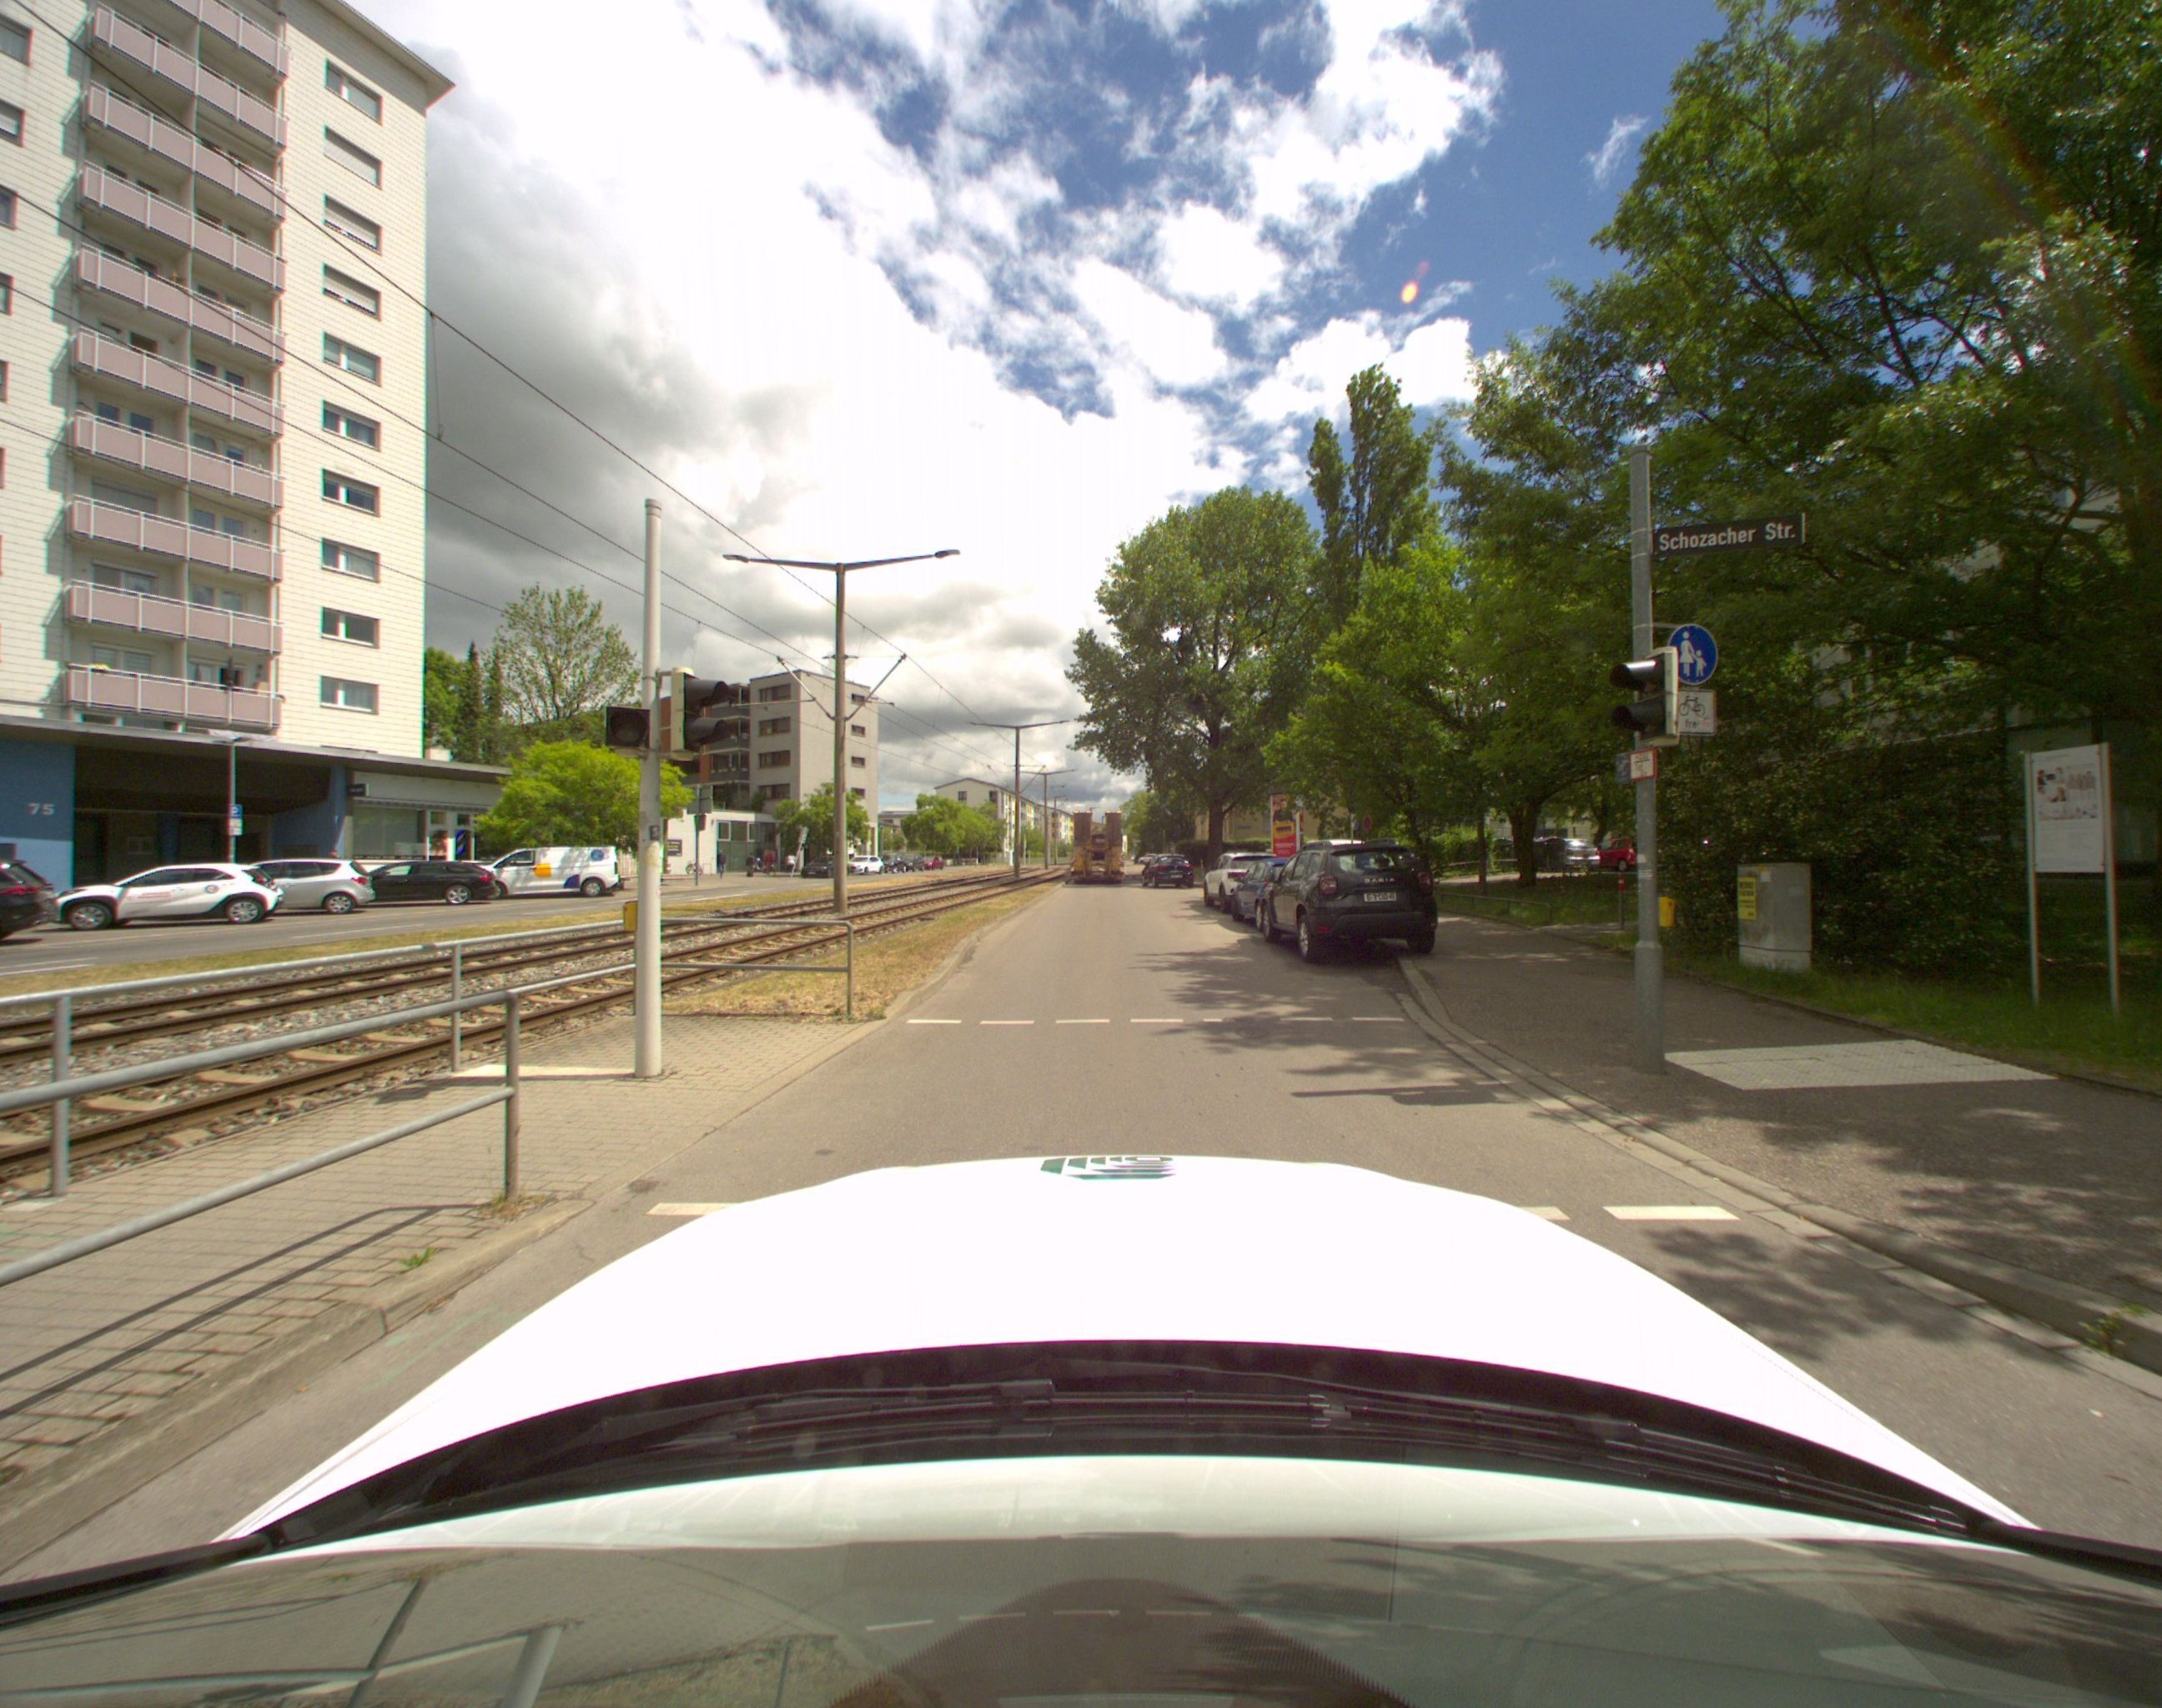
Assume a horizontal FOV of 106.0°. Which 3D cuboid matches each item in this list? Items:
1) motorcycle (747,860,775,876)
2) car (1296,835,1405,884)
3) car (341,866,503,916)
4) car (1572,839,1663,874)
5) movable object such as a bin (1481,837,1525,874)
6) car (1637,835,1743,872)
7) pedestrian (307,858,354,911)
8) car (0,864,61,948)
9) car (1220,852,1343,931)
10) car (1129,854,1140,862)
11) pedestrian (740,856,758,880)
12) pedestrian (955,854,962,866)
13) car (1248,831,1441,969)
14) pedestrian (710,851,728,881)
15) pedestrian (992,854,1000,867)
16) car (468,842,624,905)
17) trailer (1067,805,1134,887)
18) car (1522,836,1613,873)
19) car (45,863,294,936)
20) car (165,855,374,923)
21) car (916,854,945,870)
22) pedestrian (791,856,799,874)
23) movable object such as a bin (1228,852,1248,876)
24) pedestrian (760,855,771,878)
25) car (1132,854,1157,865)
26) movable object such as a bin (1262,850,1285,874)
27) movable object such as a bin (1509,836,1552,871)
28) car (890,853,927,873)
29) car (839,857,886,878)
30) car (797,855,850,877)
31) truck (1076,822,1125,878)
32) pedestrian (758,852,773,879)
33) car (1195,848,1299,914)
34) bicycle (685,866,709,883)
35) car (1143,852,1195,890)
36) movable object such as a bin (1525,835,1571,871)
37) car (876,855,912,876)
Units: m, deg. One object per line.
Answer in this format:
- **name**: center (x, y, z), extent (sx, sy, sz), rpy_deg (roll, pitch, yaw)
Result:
- **motorcycle**: center (-25.640, 1.108, 65.218), extent (1.885, 1.178, 0.742), rpy_deg (-2, 0, 1)
- **car**: center (11.127, 0.211, 33.601), extent (4.000, 1.823, 1.798), rpy_deg (-2, 0, -20)
- **car**: center (-21.730, 1.158, 27.049), extent (4.019, 1.383, 1.885), rpy_deg (-2, 0, -38)
- **car**: center (23.885, 0.101, 36.453), extent (1.735, 1.443, 4.007), rpy_deg (-1, 0, 6)
- **movable object such as a bin**: center (16.969, 0.072, 32.782), extent (1.111, 1.429, 1.286), rpy_deg (-2, 0, 1)
- **car**: center (26.184, -0.039, 35.197), extent (1.736, 1.470, 4.003), rpy_deg (-2, 0, 3)
- **pedestrian**: center (-26.514, 1.050, 28.780), extent (0.762, 1.821, 0.895), rpy_deg (-2, 0, 16)
- **car**: center (-22.613, 1.069, 15.302), extent (4.023, 1.591, 1.909), rpy_deg (-2, 0, -43)
- **car**: center (4.201, 0.715, 17.683), extent (1.638, 1.458, 4.075), rpy_deg (-2, 0, 0)
- **car**: center (9.803, 0.794, 149.260), extent (1.985, 1.387, 4.004), rpy_deg (-2, 0, 4)
- **pedestrian**: center (-22.336, 0.938, 54.830), extent (0.596, 1.534, 0.977), rpy_deg (-2, 0, 16)
- **pedestrian**: center (-15.810, 0.760, 104.992), extent (0.618, 1.573, 0.560), rpy_deg (-2, 0, 15)
- **car**: center (3.927, 0.589, 12.982), extent (1.638, 1.762, 4.571), rpy_deg (-2, 0, 1)
- **pedestrian**: center (-22.340, 0.715, 50.203), extent (0.847, 1.792, 0.865), rpy_deg (-2, 0, -34)
- **pedestrian**: center (-11.074, 0.831, 105.738), extent (0.745, 1.661, 0.871), rpy_deg (-2, 0, 8)
- **car**: center (-20.342, 0.678, 31.073), extent (4.785, 2.156, 1.885), rpy_deg (-2, 0, -38)
- **trailer**: center (1.086, -0.413, 44.128), extent (3.039, 3.772, 11.617), rpy_deg (-2, 0, 2)
- **car**: center (21.492, 0.008, 36.138), extent (1.931, 1.490, 4.007), rpy_deg (-1, 0, 6)
- **car**: center (-22.220, 1.047, 20.101), extent (3.783, 1.496, 1.728), rpy_deg (-2, 0, -36)
- **car**: center (-22.620, 0.915, 22.947), extent (4.022, 1.632, 1.883), rpy_deg (-2, 0, -42)
- **car**: center (-14.872, 0.799, 80.534), extent (1.603, 1.426, 3.433), rpy_deg (-2, 0, 10)
- **pedestrian**: center (-22.902, 0.888, 65.172), extent (0.499, 1.460, 0.556), rpy_deg (-2, 0, -24)
- **movable object such as a bin**: center (9.741, 0.625, 50.638), extent (1.094, 1.439, 0.762), rpy_deg (-2, 0, 1)
- **pedestrian**: center (-22.837, 0.895, 58.975), extent (0.666, 1.573, 0.683), rpy_deg (-2, 0, -24)
- **car**: center (10.144, 0.878, 130.427), extent (3.571, 1.584, 2.008), rpy_deg (-2, -1, 16)
- **movable object such as a bin**: center (12.029, 0.477, 50.933), extent (1.164, 1.439, 1.058), rpy_deg (-2, 0, 1)
- **movable object such as a bin**: center (19.163, -0.009, 34.749), extent (1.111, 1.429, 1.286), rpy_deg (-2, 0, 1)
- **car**: center (-15.509, 0.826, 73.524), extent (1.983, 1.648, 4.107), rpy_deg (-2, 0, 6)
- **car**: center (-16.503, 0.999, 61.660), extent (1.744, 1.475, 4.411), rpy_deg (-2, 0, 9)
- **car**: center (-17.072, 0.766, 54.293), extent (1.726, 1.428, 4.388), rpy_deg (0, 0, 6)
- **truck**: center (1.304, -0.267, 53.340), extent (2.823, 3.330, 7.988), rpy_deg (-2, 0, 2)
- **pedestrian**: center (-21.594, 0.786, 55.761), extent (0.608, 1.792, 0.844), rpy_deg (-2, 0, 3)
- **car**: center (4.394, 0.649, 22.226), extent (1.779, 1.565, 4.567), rpy_deg (-2, 0, -1)
- **bicycle**: center (-28.408, 1.525, 60.277), extent (1.948, 1.212, 0.673), rpy_deg (-2, 0, 35)
- **car**: center (3.734, 0.691, 35.179), extent (1.809, 1.448, 3.826), rpy_deg (-2, 0, 0)
- **movable object such as a bin**: center (19.148, -0.043, 33.407), extent (1.111, 1.429, 1.286), rpy_deg (-2, 0, 1)
- **car**: center (-15.545, 0.936, 67.910), extent (1.986, 1.662, 4.101), rpy_deg (0, 1, 2)
